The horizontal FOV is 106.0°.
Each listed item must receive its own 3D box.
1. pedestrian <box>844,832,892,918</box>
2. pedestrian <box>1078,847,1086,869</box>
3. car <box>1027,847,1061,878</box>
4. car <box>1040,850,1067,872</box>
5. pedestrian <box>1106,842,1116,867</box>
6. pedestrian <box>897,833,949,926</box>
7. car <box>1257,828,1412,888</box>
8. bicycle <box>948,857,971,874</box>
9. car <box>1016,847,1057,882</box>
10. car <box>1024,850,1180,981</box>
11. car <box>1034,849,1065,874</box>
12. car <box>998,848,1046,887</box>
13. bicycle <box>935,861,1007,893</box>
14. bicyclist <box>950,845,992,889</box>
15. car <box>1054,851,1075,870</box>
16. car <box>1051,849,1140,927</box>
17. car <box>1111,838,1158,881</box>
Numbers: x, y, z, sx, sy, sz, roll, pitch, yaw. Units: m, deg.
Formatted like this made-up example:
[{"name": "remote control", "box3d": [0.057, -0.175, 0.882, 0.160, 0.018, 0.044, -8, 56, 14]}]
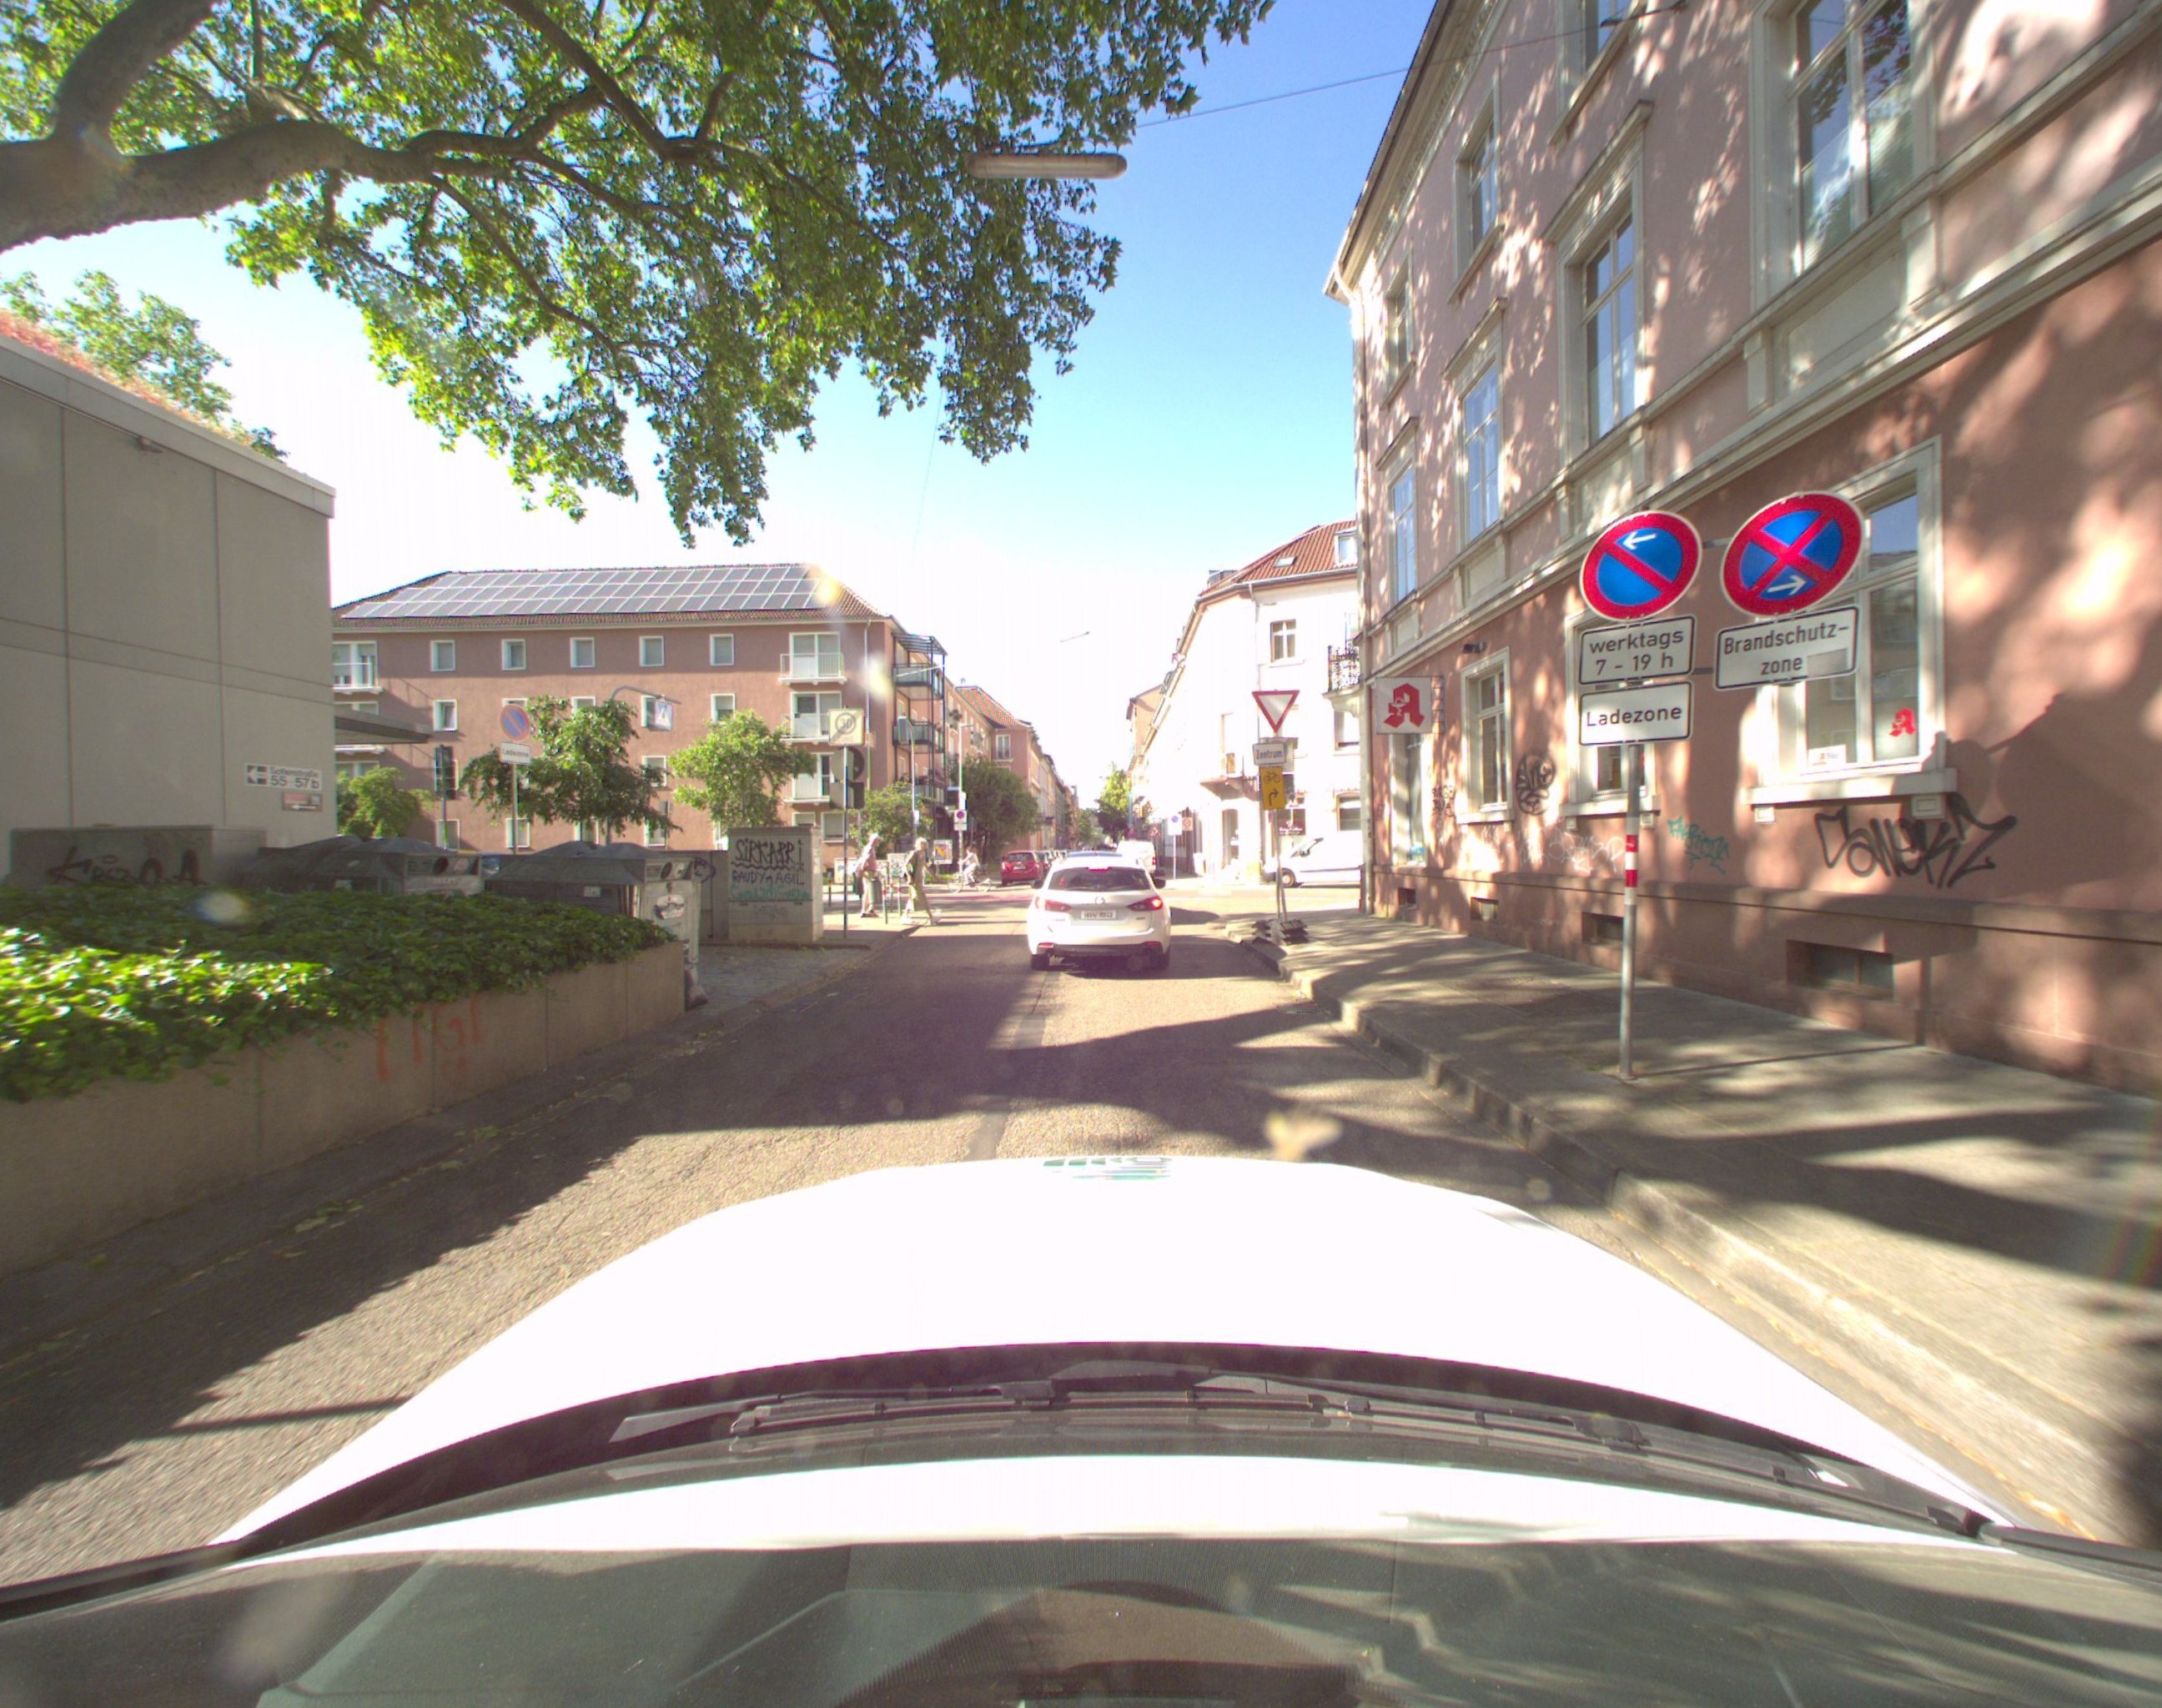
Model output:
[{"name": "pedestrian", "box3d": [-4.631, 0.450, 17.733, 0.968, 1.838, 0.679, 1, 0, -14]}, {"name": "pedestrian", "box3d": [0.090, 0.299, 67.692, 0.645, 1.797, 0.639, -1, -1, 2]}, {"name": "car", "box3d": [-2.120, 0.493, 47.522, 1.629, 1.656, 3.786, -1, 0, 2]}, {"name": "car", "box3d": [-1.934, 0.518, 58.321, 1.596, 1.477, 3.569, -1, 0, 2]}, {"name": "pedestrian", "box3d": [2.554, 0.070, 69.562, 0.768, 2.118, 0.835, -1, -1, 2]}, {"name": "pedestrian", "box3d": [-3.225, 0.503, 16.682, 0.850, 1.814, 0.815, 1, 2, 0]}, {"name": "car", "box3d": [8.744, 0.187, 28.151, 4.845, 1.929, 2.011, -1, -2, 26]}, {"name": "bicycle", "box3d": [-7.116, 0.691, 47.762, 0.607, 0.932, 1.896, -1, -1, -32]}, {"name": "car", "box3d": [-2.253, 0.495, 42.007, 1.714, 1.682, 3.728, -1, 0, 2]}, {"name": "car", "box3d": [0.271, 0.714, 11.480, 1.817, 1.514, 3.824, -1, 0, 1]}, {"name": "car", "box3d": [-2.071, 0.496, 54.309, 1.714, 1.576, 3.728, -1, 0, 2]}, {"name": "car", "box3d": [-2.579, 0.559, 36.411, 1.764, 1.588, 3.727, -1, 1, 1]}, {"name": "bicycle", "box3d": [-3.900, 0.827, 28.849, 2.405, 1.080, 0.794, -2, -1, 19]}, {"name": "bicyclist", "box3d": [-3.897, 0.446, 28.820, 1.185, 1.516, 0.844, -2, -1, 19]}, {"name": "car", "box3d": [-1.381, 0.550, 68.626, 1.566, 1.585, 3.612, -1, 0, 2]}, {"name": "car", "box3d": [0.305, 0.652, 17.628, 1.676, 1.481, 3.661, -1, 0, 1]}, {"name": "car", "box3d": [2.550, 0.257, 39.561, 1.937, 1.948, 4.076, 0, 0, -1]}]
